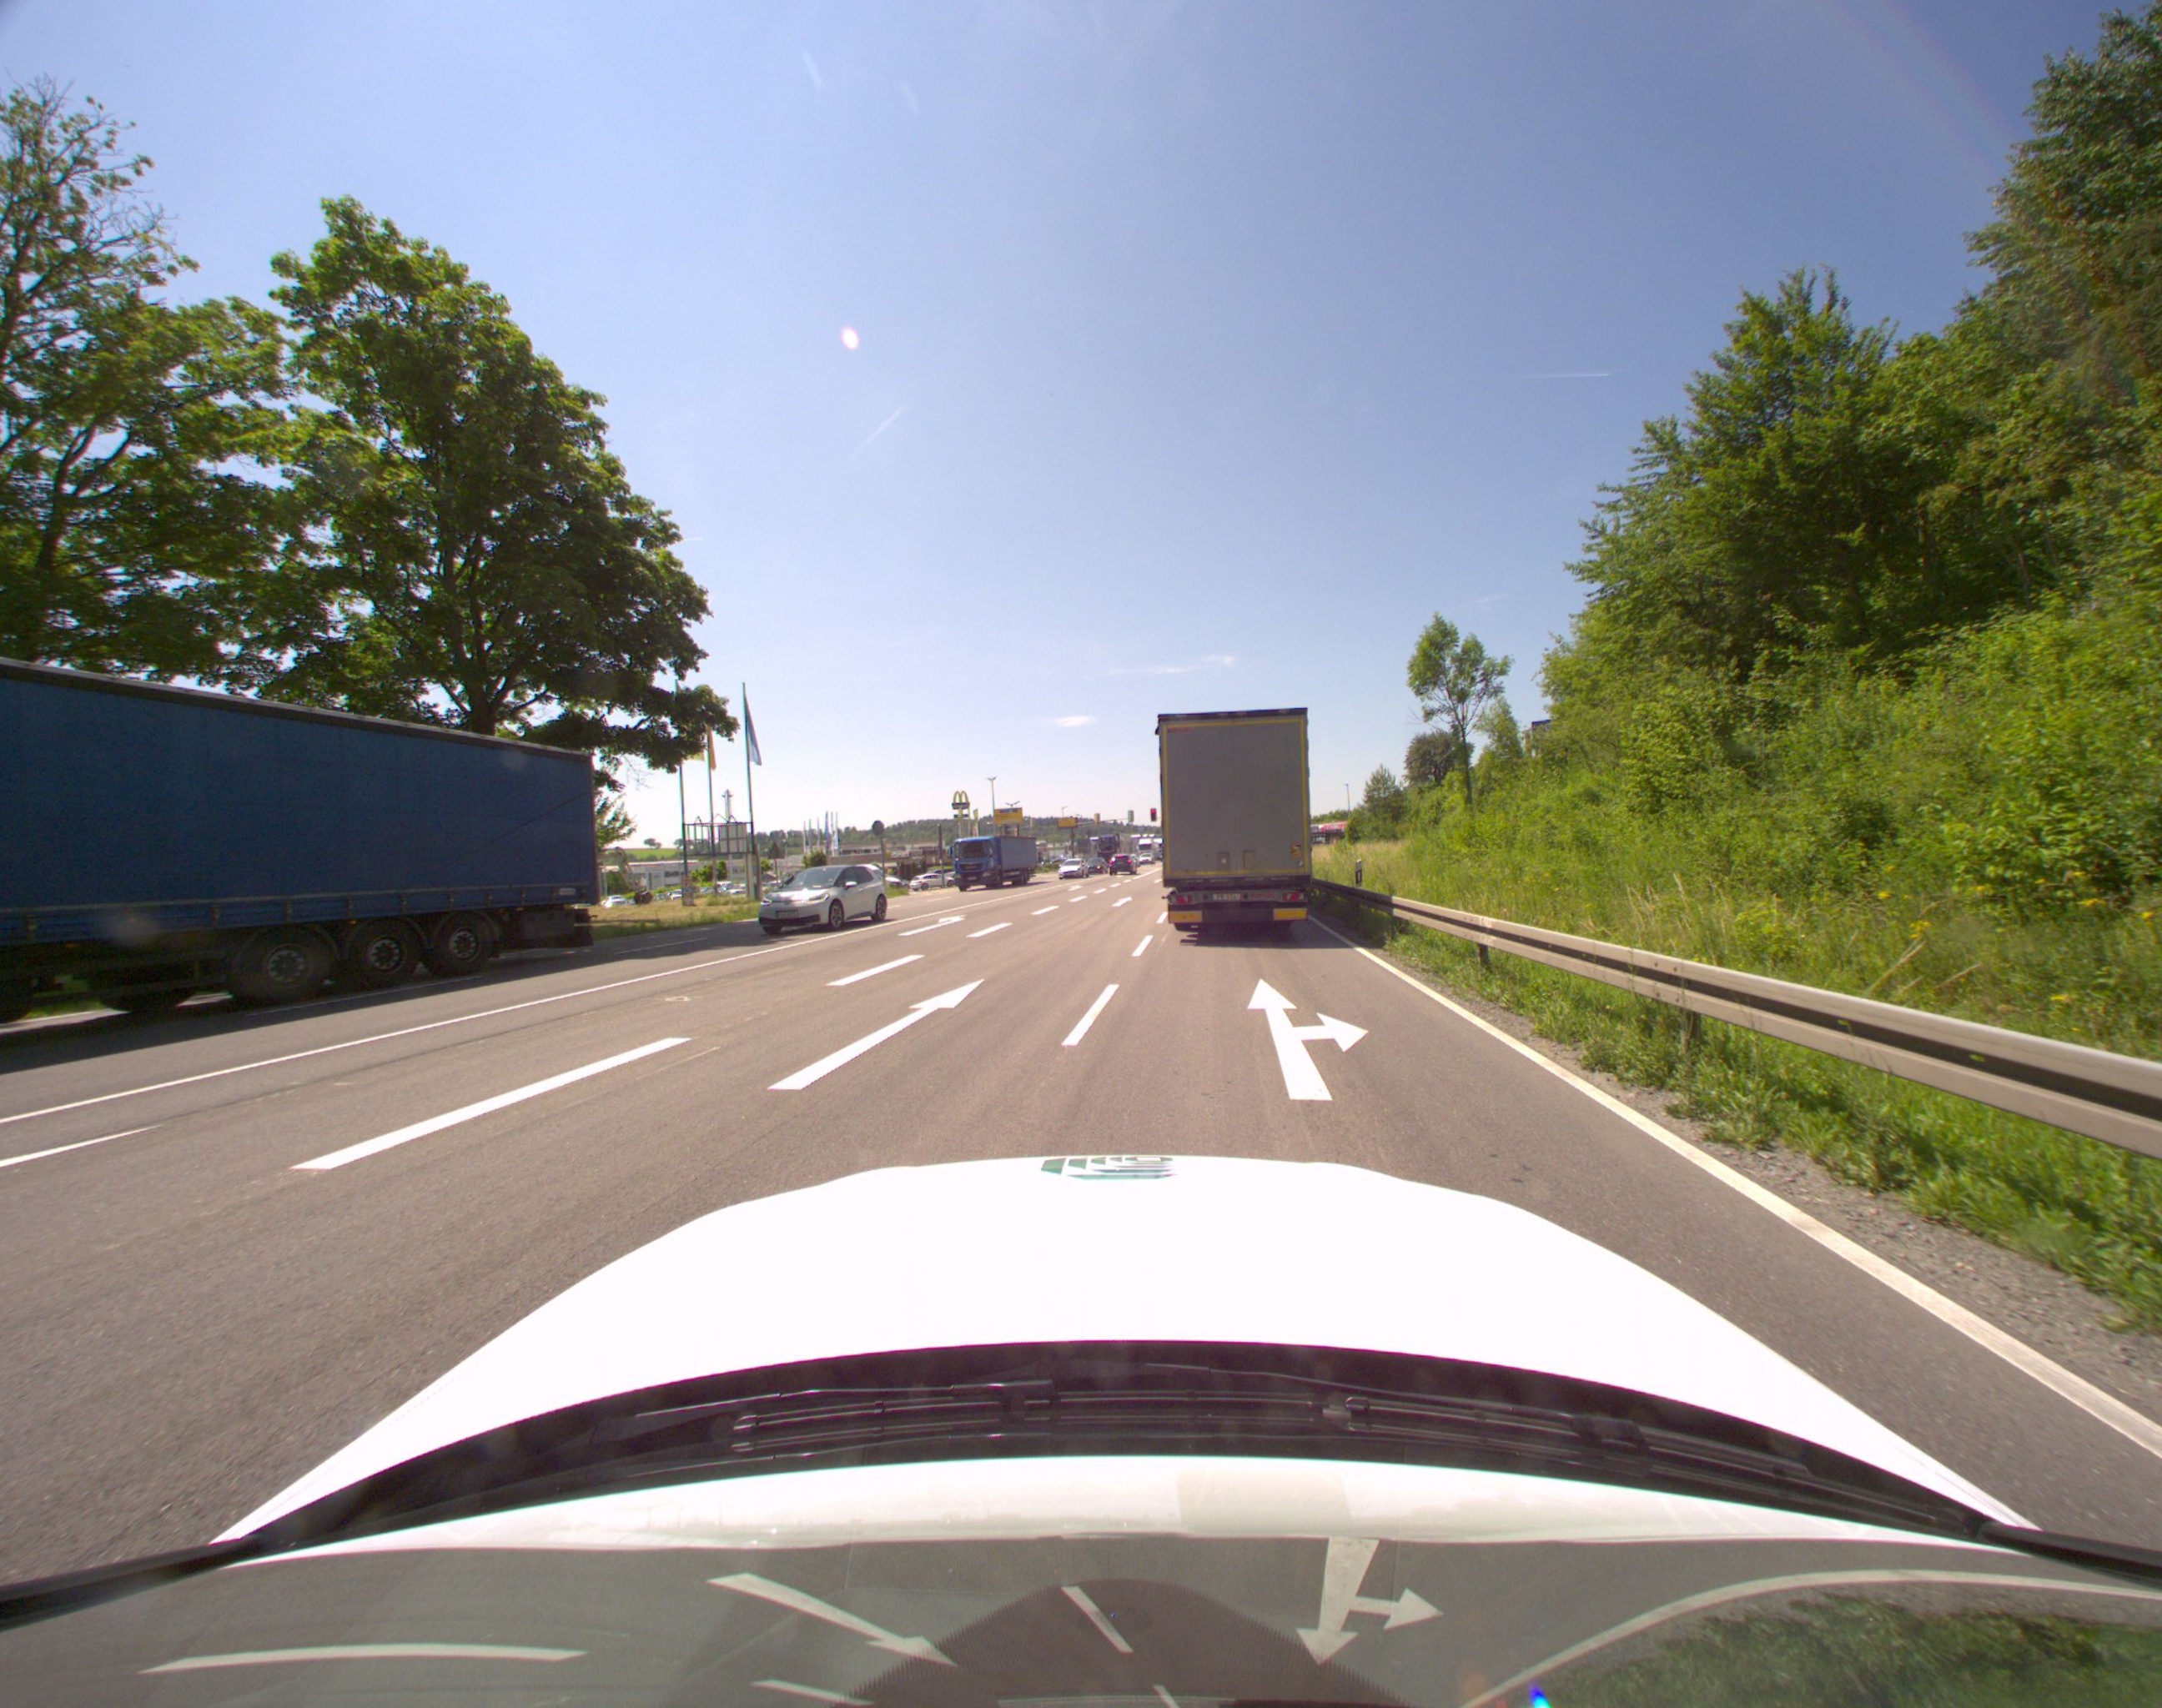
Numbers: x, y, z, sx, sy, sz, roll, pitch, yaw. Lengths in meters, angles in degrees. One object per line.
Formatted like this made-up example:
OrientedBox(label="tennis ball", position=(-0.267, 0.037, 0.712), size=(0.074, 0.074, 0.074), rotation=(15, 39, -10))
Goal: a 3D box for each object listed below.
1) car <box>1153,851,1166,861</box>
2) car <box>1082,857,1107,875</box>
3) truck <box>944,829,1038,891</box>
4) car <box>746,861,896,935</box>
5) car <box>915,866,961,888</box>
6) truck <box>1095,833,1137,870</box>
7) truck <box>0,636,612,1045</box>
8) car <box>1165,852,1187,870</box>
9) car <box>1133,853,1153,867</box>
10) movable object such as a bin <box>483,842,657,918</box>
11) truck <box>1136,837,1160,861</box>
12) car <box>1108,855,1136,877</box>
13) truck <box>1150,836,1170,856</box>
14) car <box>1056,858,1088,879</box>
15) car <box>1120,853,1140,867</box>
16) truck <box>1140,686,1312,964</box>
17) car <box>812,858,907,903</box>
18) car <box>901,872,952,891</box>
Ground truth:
OrientedBox(label="car", position=(12.097, 0.295, 125.871), size=(1.654, 1.508, 3.915), rotation=(-3, 0, 10))
OrientedBox(label="car", position=(1.216, 1.019, 70.795), size=(1.653, 1.403, 4.024), rotation=(-3, 0, 7))
OrientedBox(label="truck", position=(-5.364, 0.392, 51.377), size=(2.830, 3.351, 11.510), rotation=(-3, -1, 9))
OrientedBox(label="car", position=(-6.415, 1.027, 20.623), size=(1.781, 1.522, 4.198), rotation=(-4, 0, 10))
OrientedBox(label="car", position=(-14.234, 2.298, 81.123), size=(1.974, 2.013, 4.025), rotation=(-3, -1, 43))
OrientedBox(label="truck", position=(4.750, -0.284, 105.730), size=(3.127, 4.349, 17.587), rotation=(-3, 0, 9))
OrientedBox(label="truck", position=(-12.424, -0.078, 8.682), size=(2.951, 4.177, 16.614), rotation=(-3, -1, 9))
OrientedBox(label="car", position=(9.488, 0.668, 80.945), size=(1.793, 1.670, 4.304), rotation=(-2, 0, 11))
OrientedBox(label="car", position=(7.188, 0.691, 94.319), size=(1.800, 1.508, 4.959), rotation=(-3, 0, 9))
OrientedBox(label="movable object such as a bin", position=(-25.176, 1.208, 40.279), size=(6.828, 3.298, 3.016), rotation=(-3, -1, -40))
OrientedBox(label="truck", position=(12.248, -0.910, 147.626), size=(2.917, 3.950, 14.275), rotation=(-3, 0, 10))
OrientedBox(label="car", position=(3.236, 0.936, 63.664), size=(1.784, 1.627, 4.379), rotation=(-1, 0, 7))
OrientedBox(label="truck", position=(16.814, -1.551, 171.773), size=(2.916, 3.950, 13.905), rotation=(-3, 0, 10))
OrientedBox(label="car", position=(-0.623, 1.049, 60.815), size=(1.779, 1.426, 4.272), rotation=(-2, 0, 7))
OrientedBox(label="car", position=(5.674, 0.735, 93.512), size=(1.730, 1.503, 4.418), rotation=(-4, -2, 10))
OrientedBox(label="truck", position=(3.653, -0.338, 22.056), size=(2.740, 4.639, 16.693), rotation=(-2, -1, 8))
OrientedBox(label="car", position=(-15.896, 1.872, 58.729), size=(5.967, 2.487, 2.197), rotation=(-7, 0, 3))
OrientedBox(label="car", position=(-13.478, 2.411, 71.278), size=(4.033, 1.480, 1.769), rotation=(-1, -2, -39))
